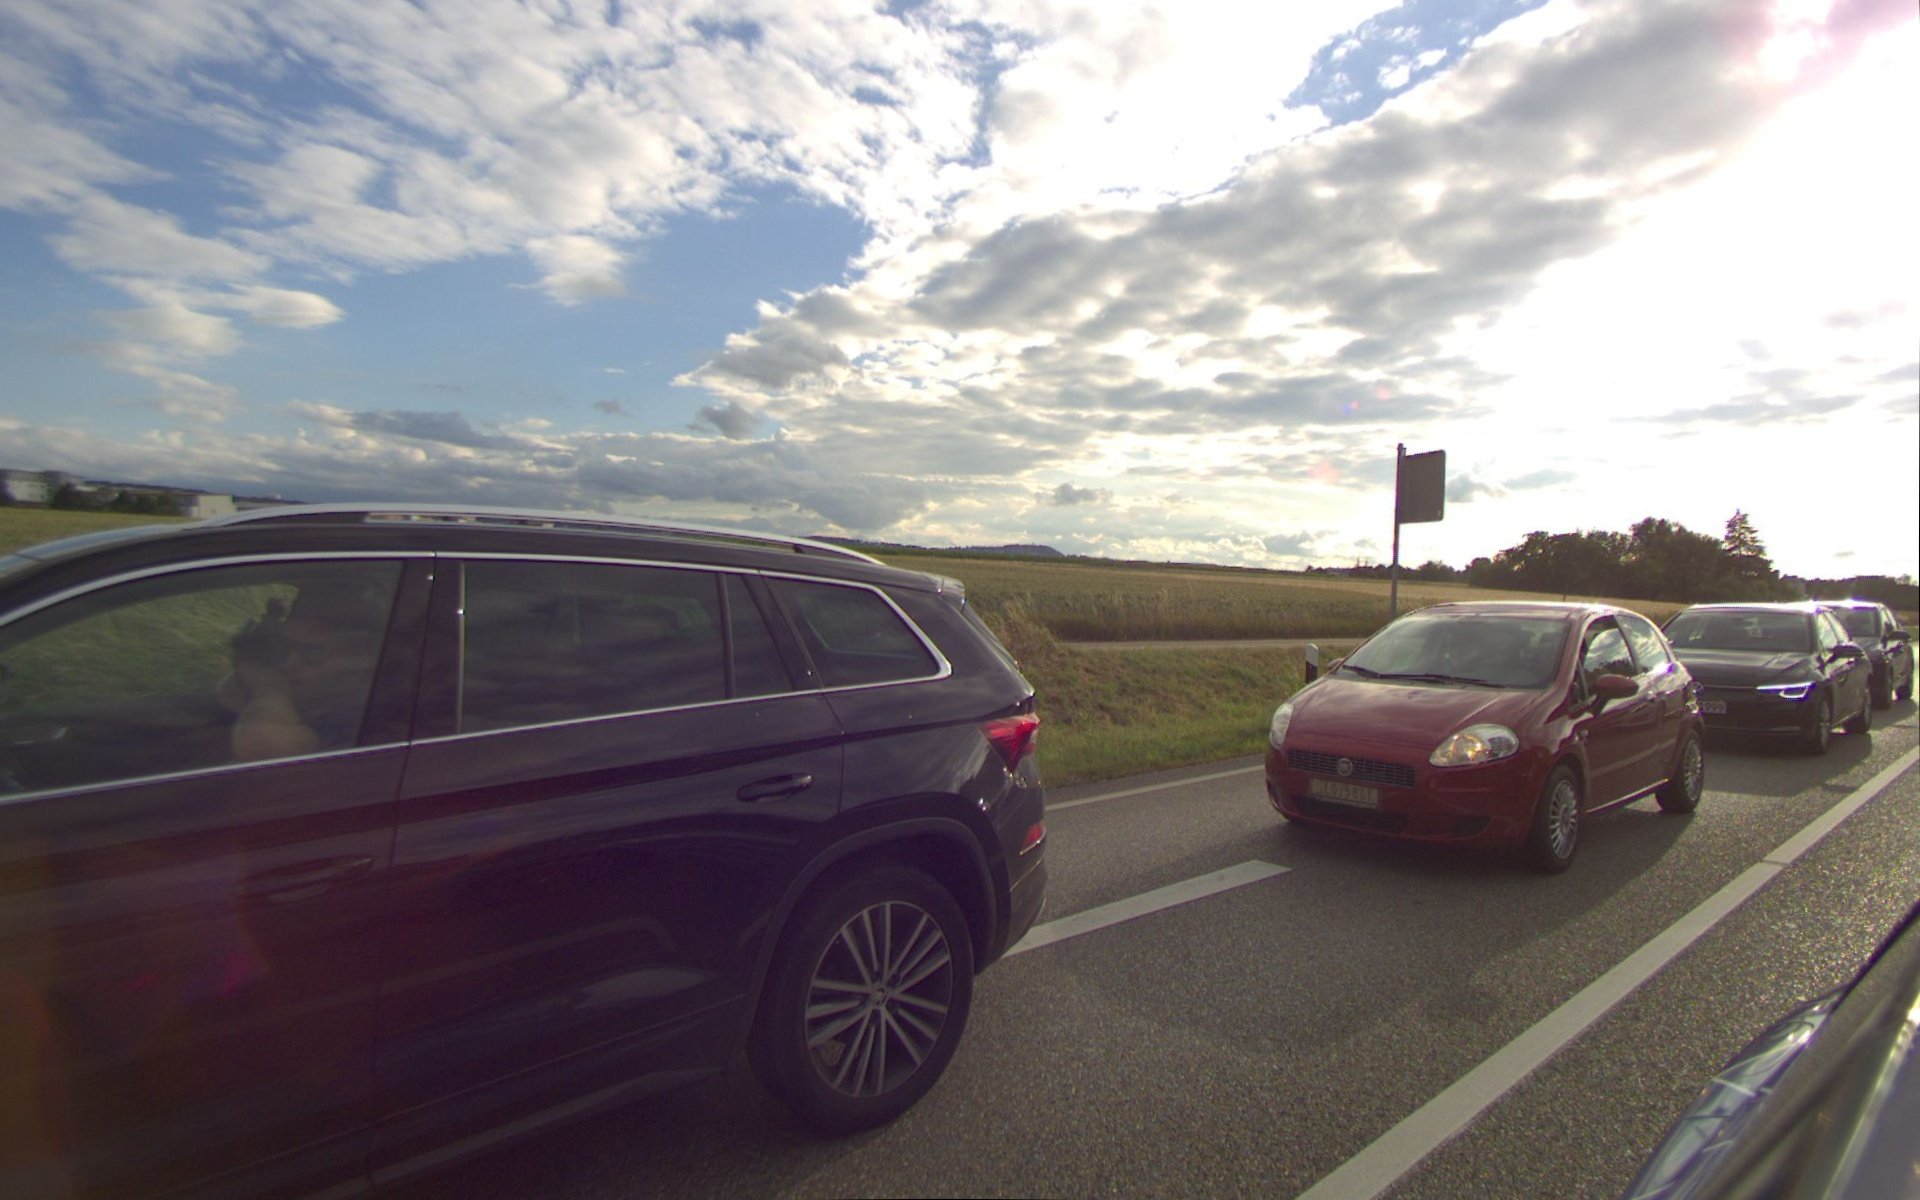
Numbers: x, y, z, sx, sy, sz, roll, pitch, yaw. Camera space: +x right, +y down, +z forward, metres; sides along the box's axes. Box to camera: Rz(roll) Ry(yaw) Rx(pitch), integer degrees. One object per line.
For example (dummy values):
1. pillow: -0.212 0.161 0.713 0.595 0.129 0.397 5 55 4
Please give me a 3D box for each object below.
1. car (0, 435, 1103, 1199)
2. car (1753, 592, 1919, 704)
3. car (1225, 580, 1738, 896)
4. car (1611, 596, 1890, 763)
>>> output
1. car: -1.719 0.583 2.537 4.342 1.689 1.722 0 0 -41
2. car: 13.357 0.638 15.243 3.414 1.494 1.629 0 0 -41
3. car: 3.575 0.656 6.660 3.796 1.494 1.668 0 0 -40
4. car: 8.645 0.712 10.964 3.798 1.494 1.722 0 0 -41
